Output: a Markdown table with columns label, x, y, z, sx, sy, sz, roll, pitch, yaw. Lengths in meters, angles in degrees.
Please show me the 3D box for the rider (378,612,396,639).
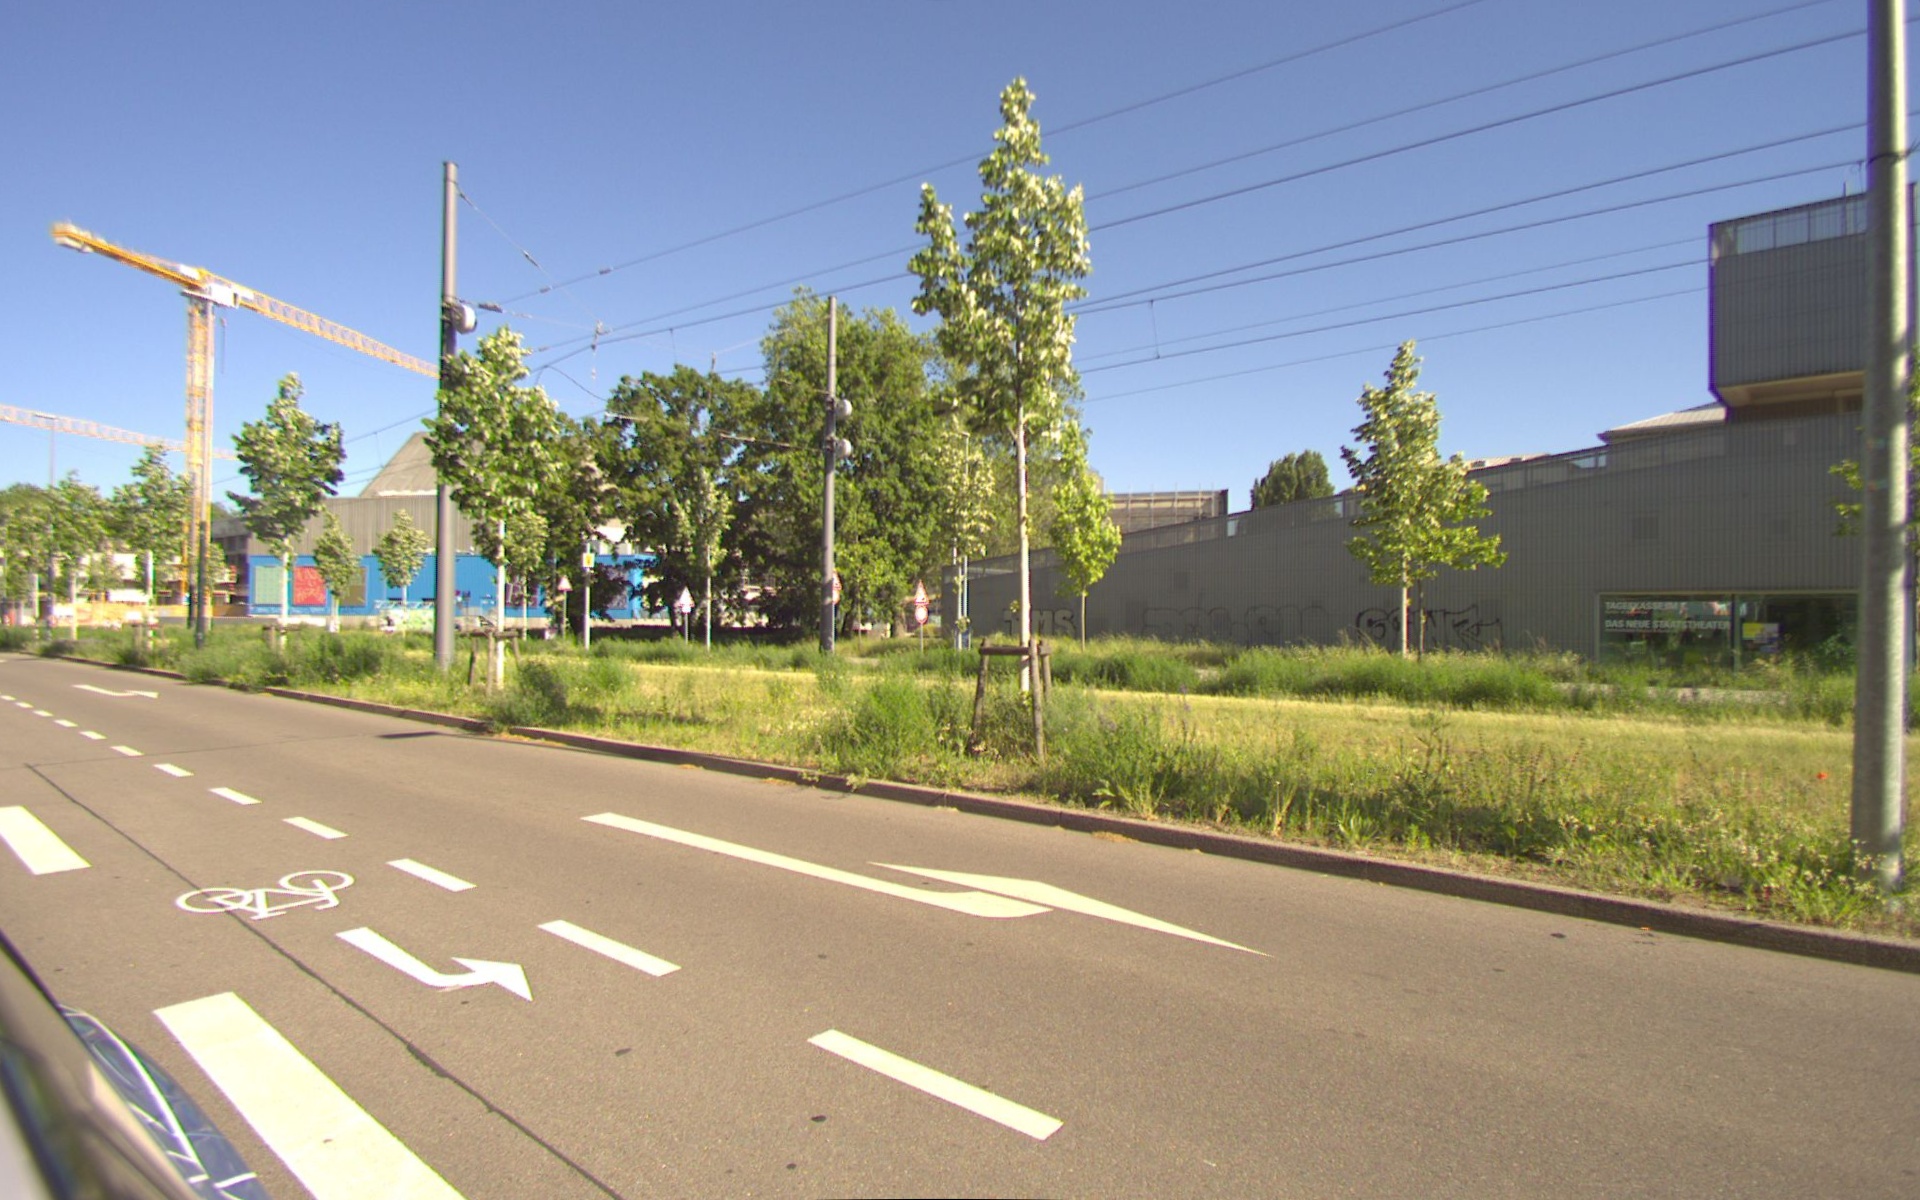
| label | x | y | z | sx | sy | sz | roll | pitch | yaw |
| --- | --- | --- | --- | --- | --- | --- | --- | --- | --- |
| rider | -32.769 | 1.453 | 57.868 | 0.631 | 1.534 | 0.715 | -1 | -2 | 38 |
